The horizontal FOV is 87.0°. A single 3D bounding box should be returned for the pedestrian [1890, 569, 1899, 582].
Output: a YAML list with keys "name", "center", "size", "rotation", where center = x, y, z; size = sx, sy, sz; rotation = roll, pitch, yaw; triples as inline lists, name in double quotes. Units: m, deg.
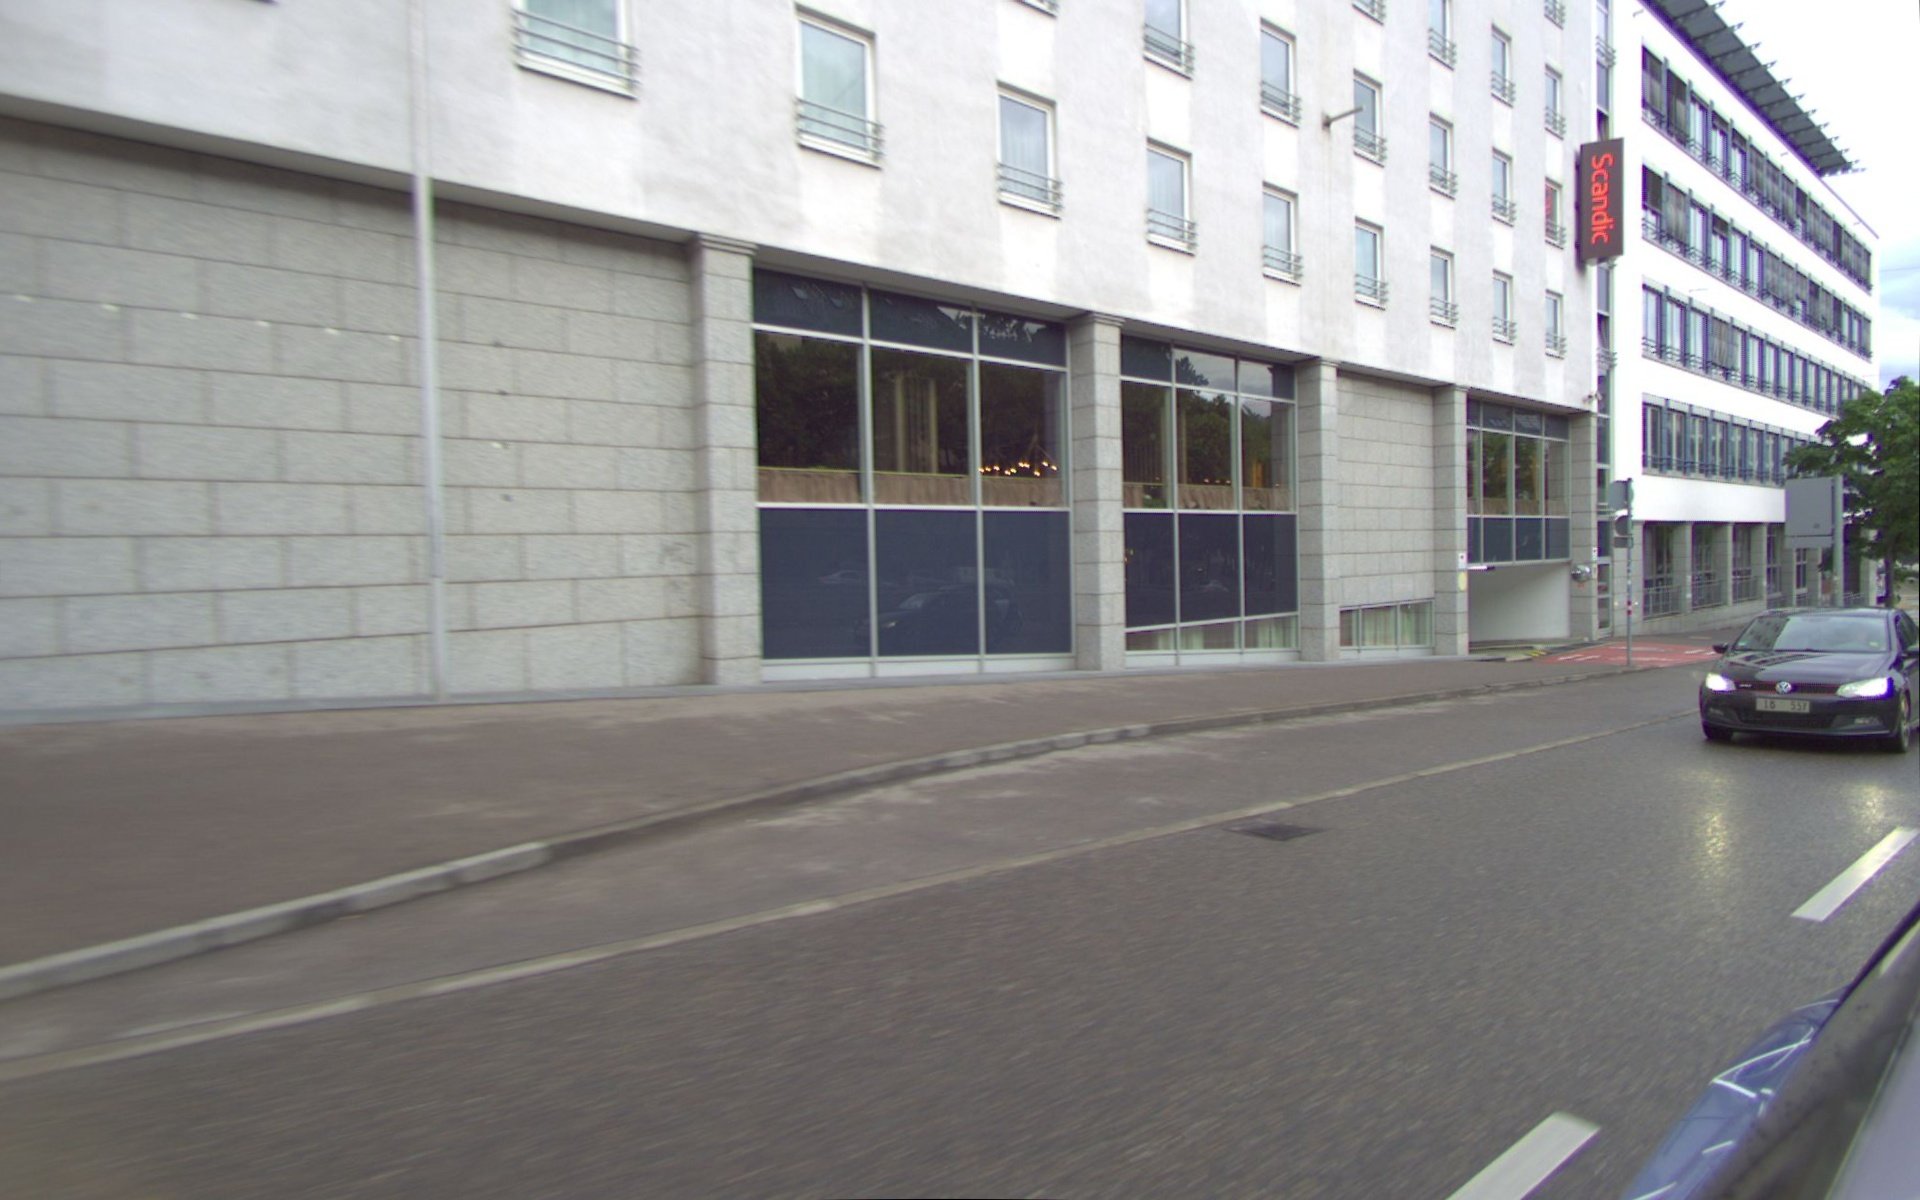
- name: "pedestrian"
  center: [105.960, -2.776, 114.708]
  size: [0.582, 1.496, 0.598]
  rotation: [-2, 0, 30]

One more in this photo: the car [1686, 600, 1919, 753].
- name: "car"
  center: [9.715, 0.718, 11.232]
  size: [3.778, 1.417, 1.678]
  rotation: [0, -1, -38]
